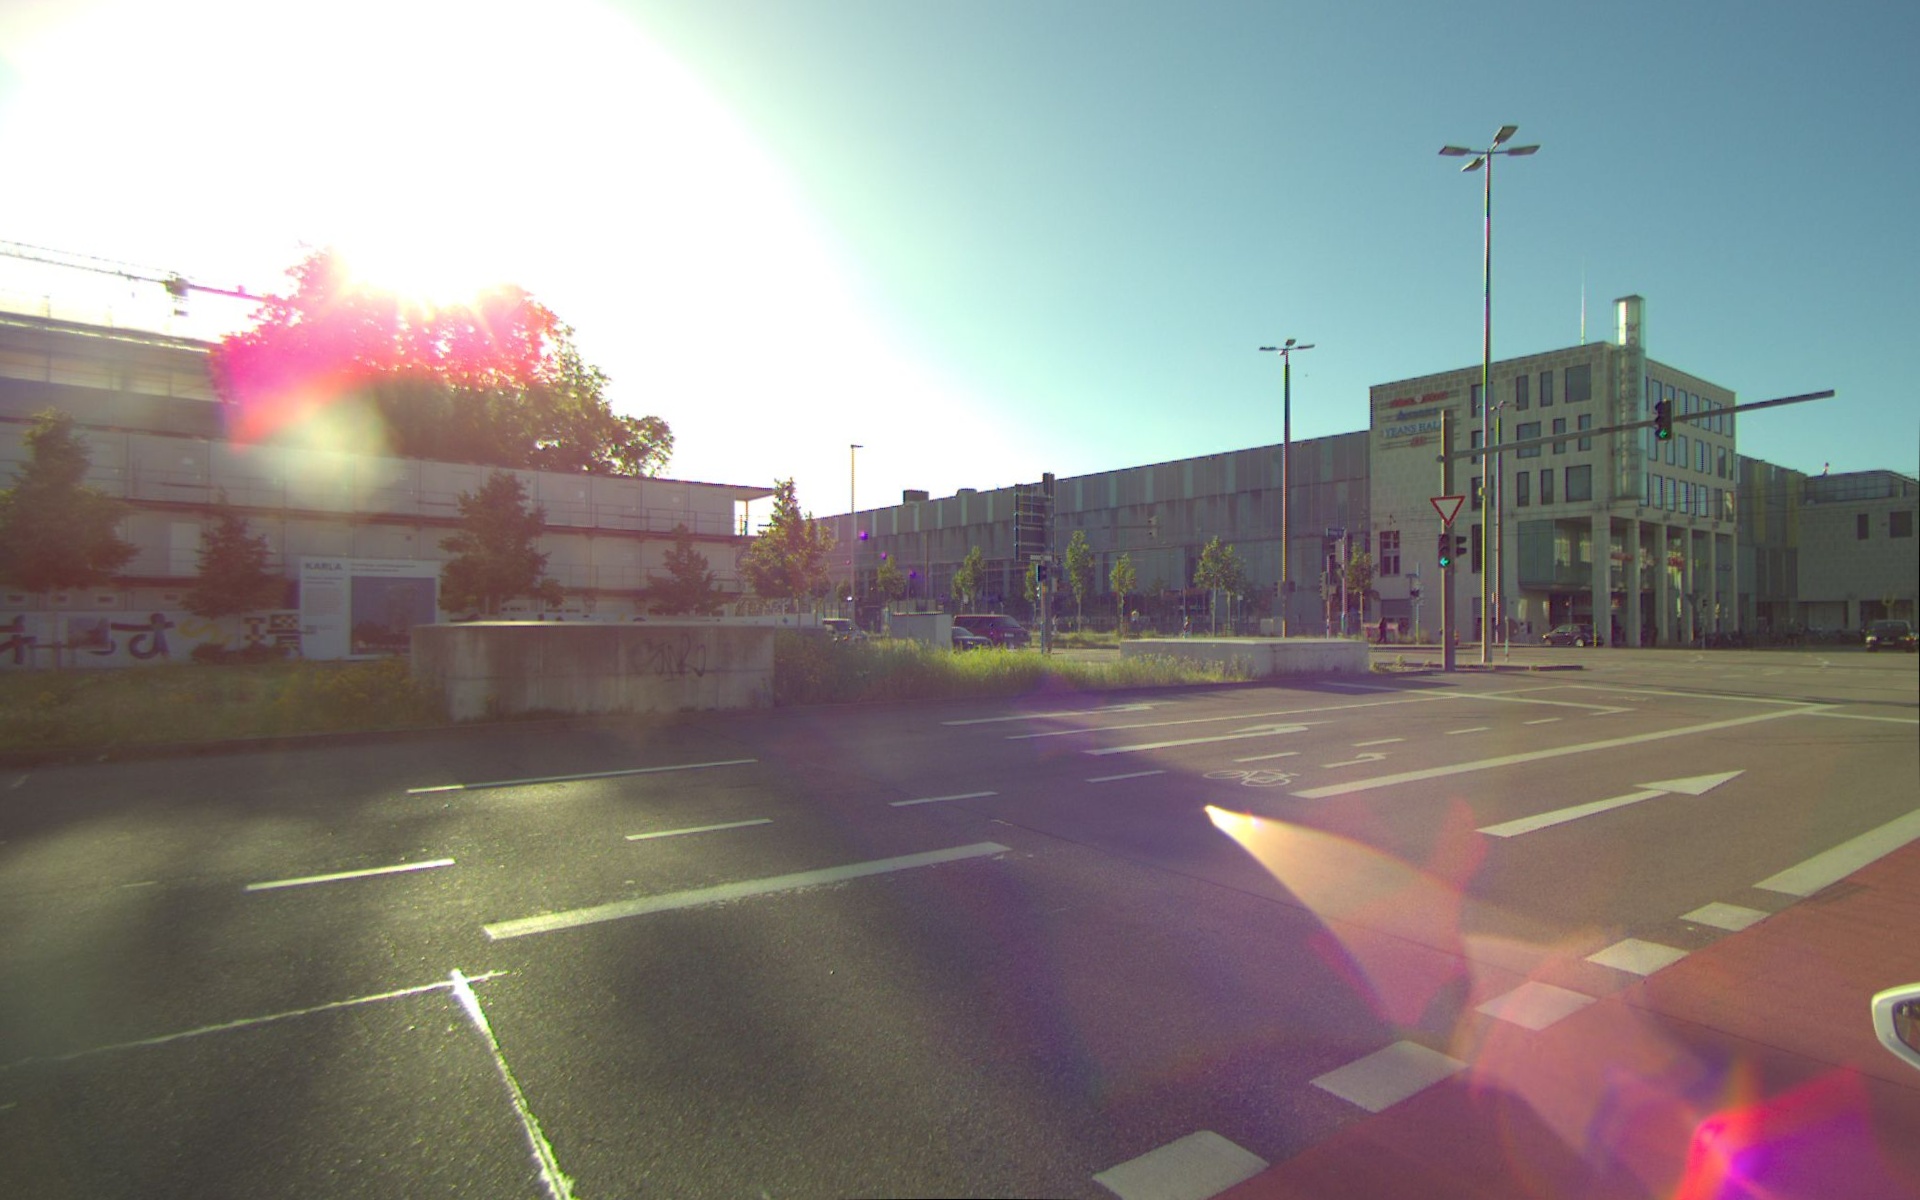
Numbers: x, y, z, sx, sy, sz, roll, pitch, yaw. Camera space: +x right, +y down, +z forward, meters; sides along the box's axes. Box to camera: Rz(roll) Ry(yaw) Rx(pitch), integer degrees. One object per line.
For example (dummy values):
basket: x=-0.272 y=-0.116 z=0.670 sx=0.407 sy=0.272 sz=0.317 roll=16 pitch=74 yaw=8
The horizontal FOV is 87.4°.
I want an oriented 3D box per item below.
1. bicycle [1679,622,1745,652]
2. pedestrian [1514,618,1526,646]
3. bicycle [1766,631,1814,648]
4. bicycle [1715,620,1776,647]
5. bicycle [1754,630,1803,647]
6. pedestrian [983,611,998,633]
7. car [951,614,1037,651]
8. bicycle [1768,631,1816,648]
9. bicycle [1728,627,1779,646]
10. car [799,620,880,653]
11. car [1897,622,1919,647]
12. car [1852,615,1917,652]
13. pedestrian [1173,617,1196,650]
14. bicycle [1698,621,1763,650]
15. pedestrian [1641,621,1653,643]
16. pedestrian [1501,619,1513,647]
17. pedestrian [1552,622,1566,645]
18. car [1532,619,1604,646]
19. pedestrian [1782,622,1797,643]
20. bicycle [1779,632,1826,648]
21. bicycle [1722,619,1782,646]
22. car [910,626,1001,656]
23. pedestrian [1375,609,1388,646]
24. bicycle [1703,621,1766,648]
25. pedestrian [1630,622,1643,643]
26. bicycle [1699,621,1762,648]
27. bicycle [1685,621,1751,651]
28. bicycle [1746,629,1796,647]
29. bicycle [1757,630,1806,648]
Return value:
bicycle: x=53.476 y=2.623 z=71.493 sx=1.078 sy=2.040 sz=3.588 roll=1 pitch=-2 yaw=-42
pedestrian: x=40.983 y=2.364 z=73.519 sx=0.512 sy=2.040 sz=0.617 roll=0 pitch=-1 yaw=-43
bicycle: x=70.575 y=3.336 z=85.481 sx=0.894 sy=1.419 sz=3.027 roll=1 pitch=-2 yaw=-38
bicycle: x=60.349 y=2.598 z=77.202 sx=0.894 sy=2.040 sz=3.593 roll=0 pitch=-2 yaw=-38
bicycle: x=67.467 y=3.160 z=82.809 sx=0.894 sy=1.419 sz=3.027 roll=1 pitch=-2 yaw=-38
pedestrian: x=2.102 y=1.508 z=68.771 sx=0.719 sy=1.522 sz=0.793 roll=1 pitch=-1 yaw=-42
car: x=1.747 y=1.717 z=52.884 sx=1.859 sy=1.834 sz=4.598 roll=3 pitch=-4 yaw=-42
bicycle: x=71.384 y=3.385 z=86.224 sx=0.894 sy=1.419 sz=3.027 roll=1 pitch=-2 yaw=-38
bicycle: x=62.459 y=2.864 z=79.064 sx=0.894 sy=1.419 sz=3.027 roll=1 pitch=-2 yaw=-38
car: x=-6.724 y=2.044 z=55.800 sx=2.123 sy=1.630 sz=4.598 roll=7 pitch=-7 yaw=-42
car: x=59.752 y=2.113 z=61.954 sx=4.599 sy=1.374 sz=1.981 roll=-1 pitch=0 yaw=-35
car: x=48.238 y=1.708 z=52.508 sx=1.968 sy=1.766 sz=4.628 roll=-1 pitch=0 yaw=36
pedestrian: x=10.414 y=1.545 z=46.503 sx=0.797 sy=1.522 sz=0.715 roll=1 pitch=-1 yaw=-44
bicycle: x=55.865 y=2.571 z=72.903 sx=1.077 sy=2.040 sz=3.593 roll=1 pitch=-2 yaw=-38
pedestrian: x=52.517 y=2.439 z=76.807 sx=0.612 sy=1.629 sz=0.653 roll=-1 pitch=-1 yaw=20
pedestrian: x=39.815 y=2.378 z=73.131 sx=0.512 sy=2.040 sz=0.617 roll=0 pitch=-1 yaw=-43
pedestrian: x=41.751 y=2.323 z=70.025 sx=0.647 sy=1.629 sz=0.618 roll=0 pitch=-1 yaw=-36
car: x=37.665 y=1.984 z=62.325 sx=1.750 sy=1.584 sz=3.783 roll=0 pitch=-1 yaw=-10
pedestrian: x=63.718 y=2.503 z=77.148 sx=0.730 sy=1.629 sz=0.624 roll=-1 pitch=-1 yaw=28
bicycle: x=73.801 y=3.504 z=88.013 sx=0.894 sy=1.419 sz=3.027 roll=1 pitch=-2 yaw=-38
bicycle: x=61.756 y=2.558 z=78.378 sx=0.894 sy=2.040 sz=3.593 roll=0 pitch=-2 yaw=-38
car: x=-0.257 y=1.995 z=48.728 sx=1.859 sy=1.392 sz=4.598 roll=3 pitch=-4 yaw=-42
pedestrian: x=23.620 y=1.534 z=56.273 sx=0.509 sy=2.040 sz=0.621 roll=-1 pitch=-1 yaw=42
bicycle: x=58.608 y=2.606 z=76.084 sx=1.077 sy=2.040 sz=3.593 roll=1 pitch=-2 yaw=-38
pedestrian: x=51.636 y=2.488 z=76.676 sx=0.612 sy=1.629 sz=0.653 roll=-1 pitch=-1 yaw=20
bicycle: x=57.752 y=2.577 z=75.321 sx=1.077 sy=2.040 sz=3.593 roll=1 pitch=-2 yaw=-38
bicycle: x=54.528 y=2.583 z=72.302 sx=1.077 sy=2.040 sz=3.593 roll=1 pitch=-2 yaw=-38
bicycle: x=65.943 y=3.091 z=81.728 sx=0.894 sy=1.419 sz=3.027 roll=1 pitch=-2 yaw=-38
bicycle: x=68.510 y=3.227 z=83.765 sx=0.894 sy=1.419 sz=3.027 roll=1 pitch=-2 yaw=-38
